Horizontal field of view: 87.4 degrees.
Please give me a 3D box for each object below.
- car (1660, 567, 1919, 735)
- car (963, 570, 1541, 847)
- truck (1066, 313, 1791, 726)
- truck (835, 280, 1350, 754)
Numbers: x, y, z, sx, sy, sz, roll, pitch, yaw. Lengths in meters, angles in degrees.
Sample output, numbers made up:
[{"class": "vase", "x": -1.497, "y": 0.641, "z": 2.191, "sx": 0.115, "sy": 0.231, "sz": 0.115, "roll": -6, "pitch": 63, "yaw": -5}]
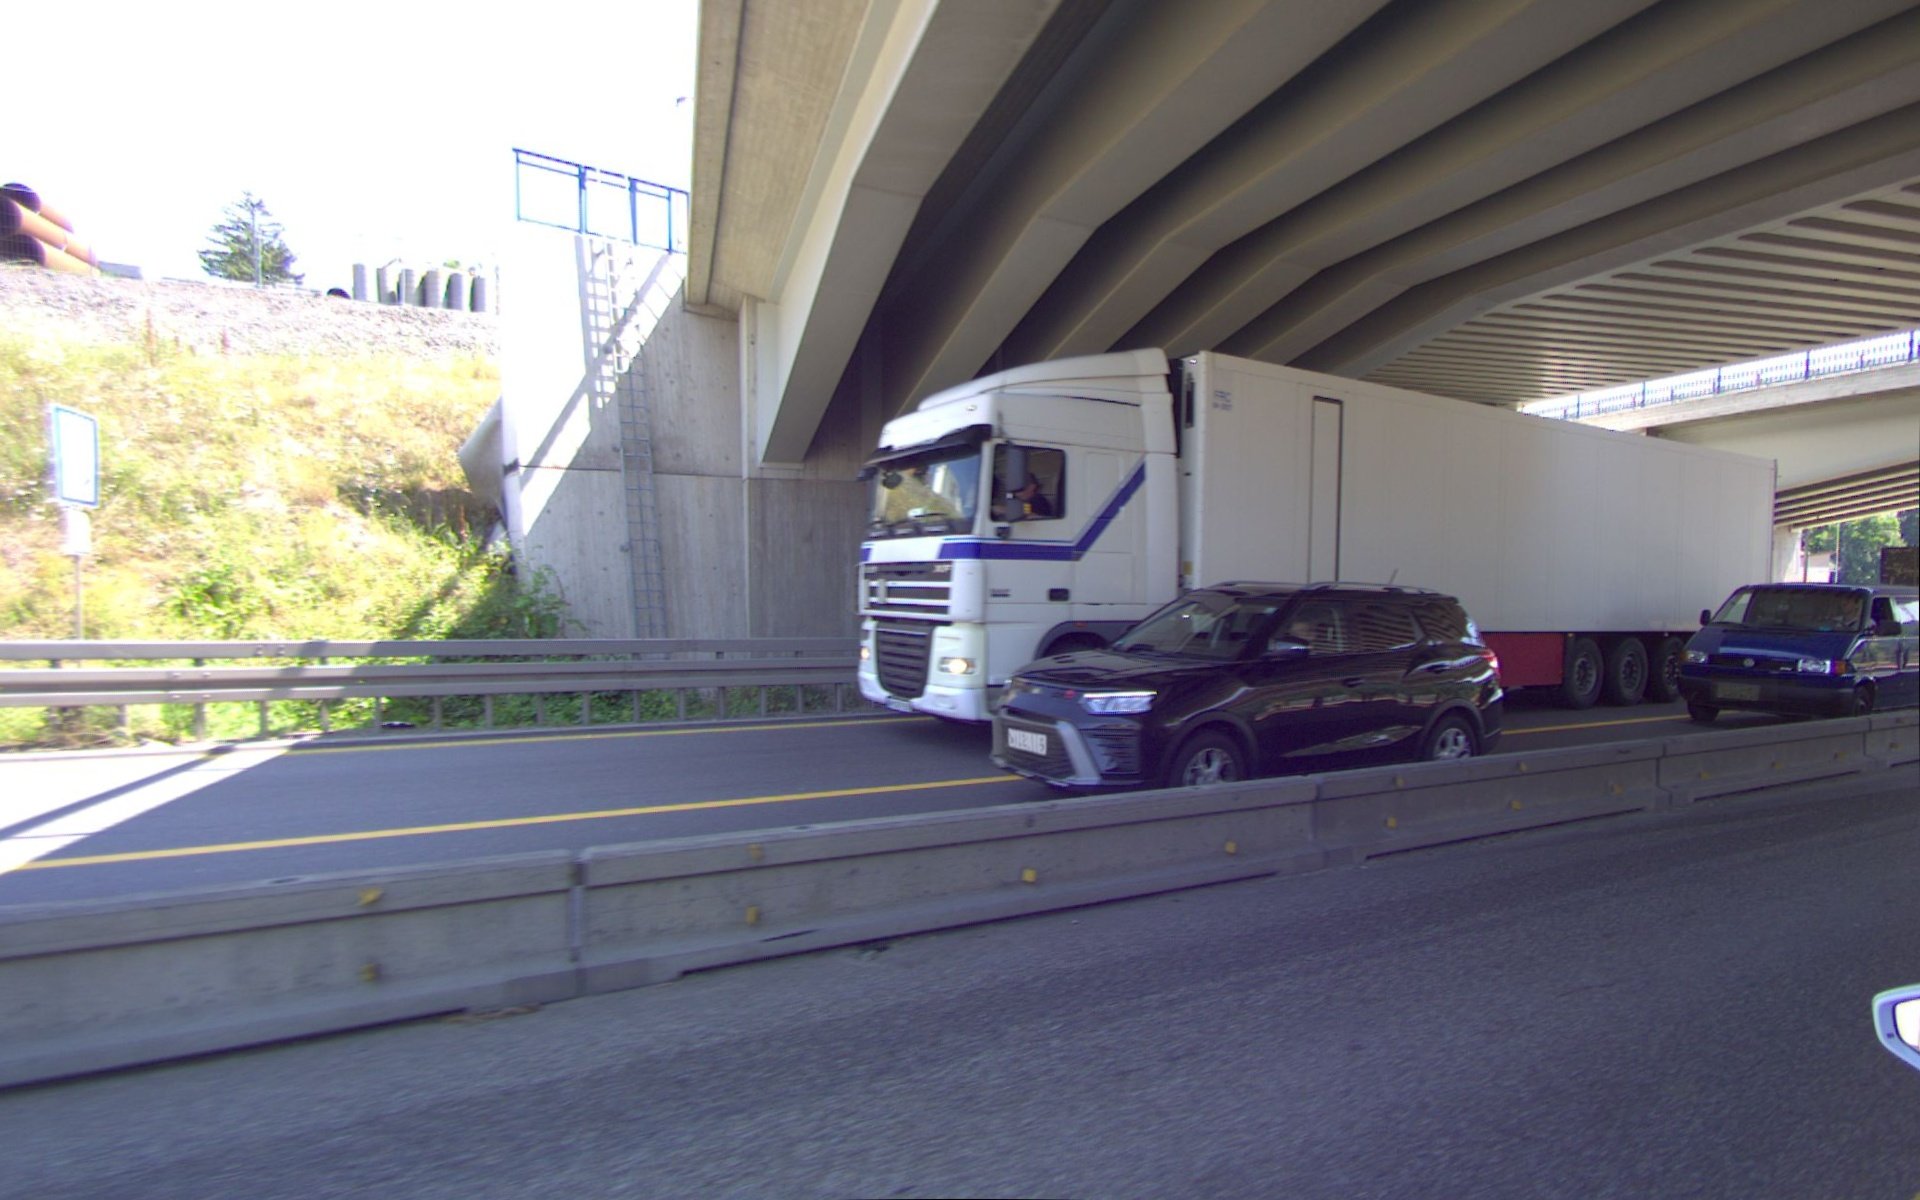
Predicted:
[{"class": "car", "x": 11.762, "y": 0.623, "z": 13.734, "sx": 4.912, "sy": 1.958, "sz": 1.790, "roll": 1, "pitch": 0, "yaw": -32}, {"class": "car", "x": 2.384, "y": 0.643, "z": 7.842, "sx": 4.470, "sy": 1.631, "sz": 1.713, "roll": 1, "pitch": 2, "yaw": -31}, {"class": "truck", "x": 7.871, "y": -0.623, "z": 15.201, "sx": 13.333, "sy": 4.370, "sz": 2.755, "roll": 2, "pitch": 0, "yaw": -30}, {"class": "truck", "x": 1.535, "y": -0.662, "z": 11.395, "sx": 5.125, "sy": 4.226, "sz": 2.647, "roll": 2, "pitch": 0, "yaw": -30}]
